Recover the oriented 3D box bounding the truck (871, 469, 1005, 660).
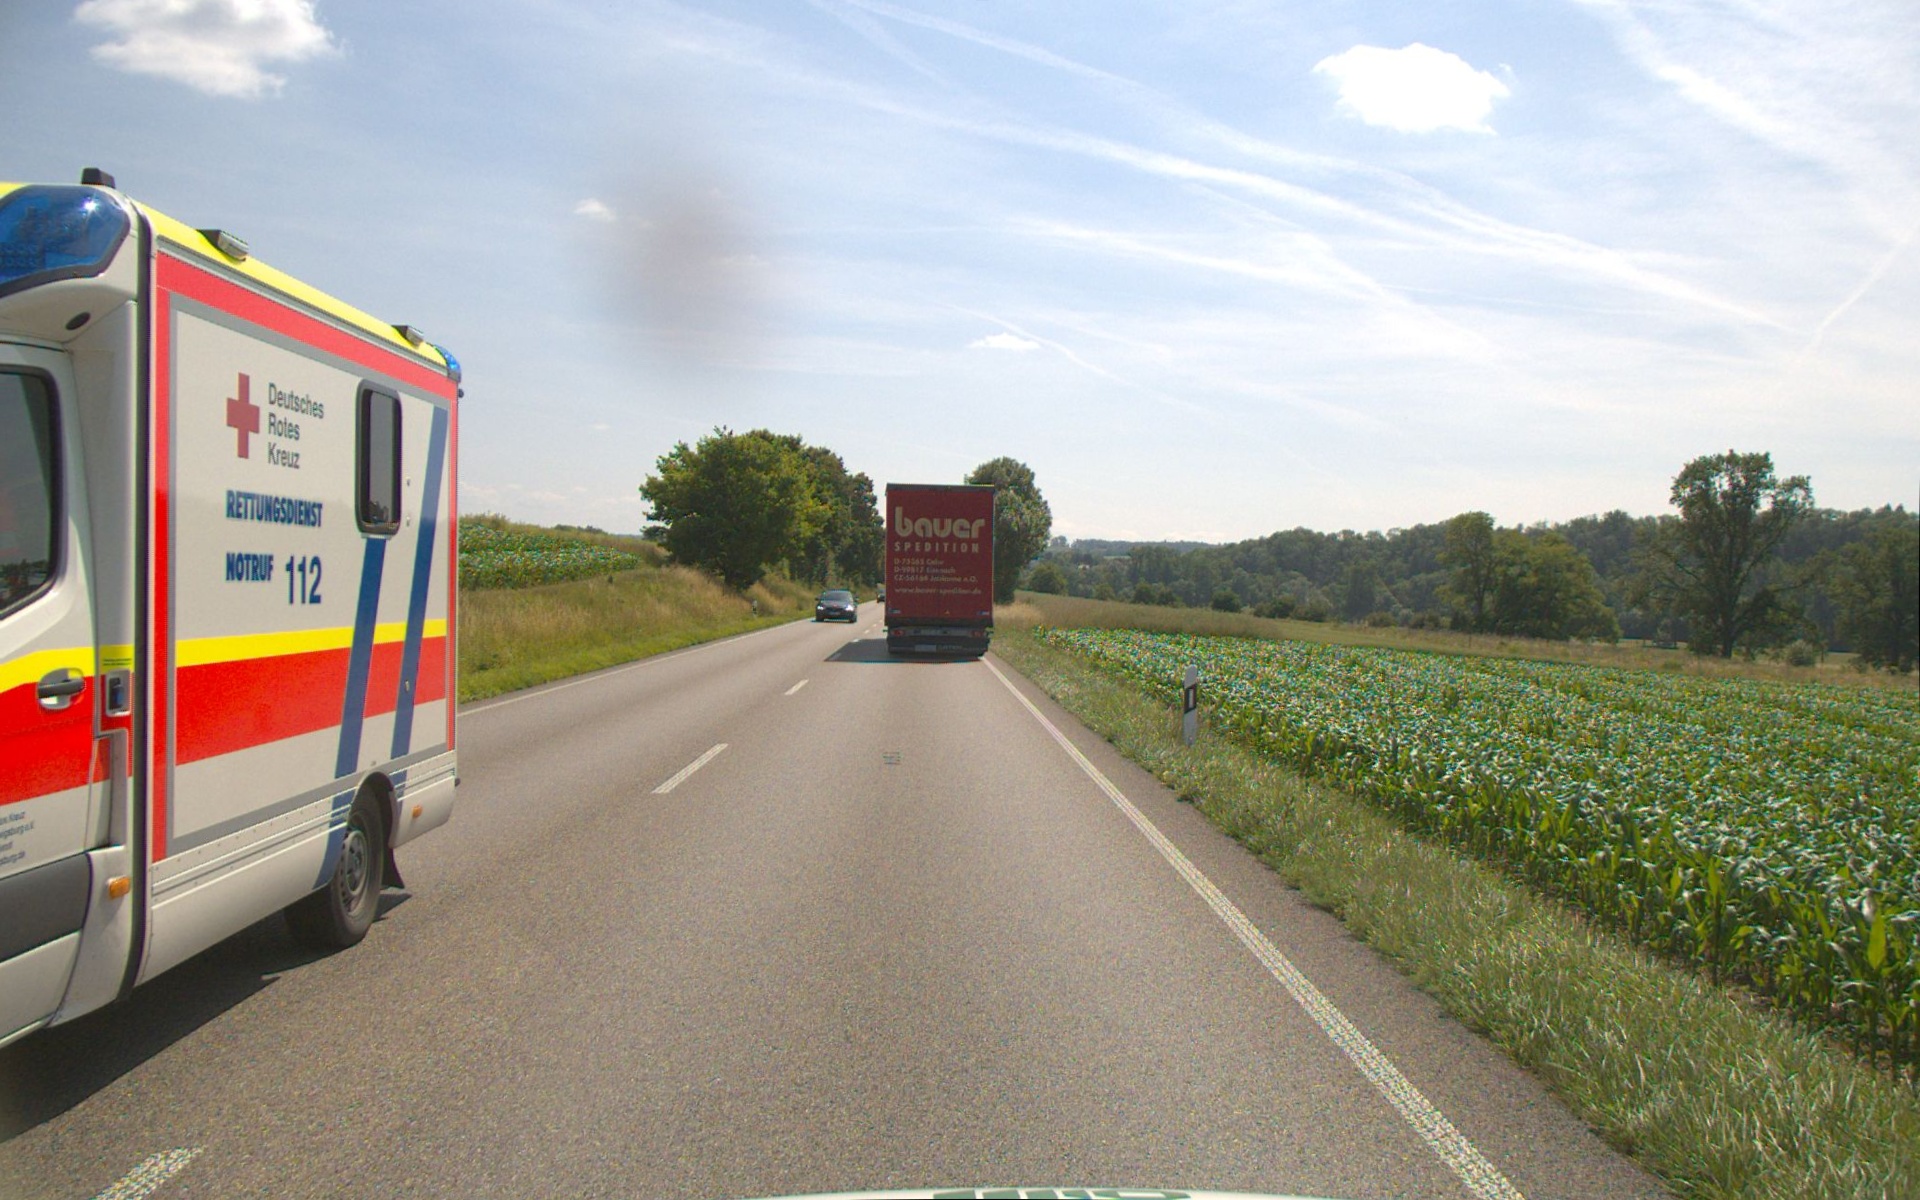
[{"bbox_3d":[-0.475,-0.786,42.047,3.031,4.337,8.314,1,-1,0],"label":"truck"}]

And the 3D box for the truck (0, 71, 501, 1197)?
[{"bbox_3d":[-3.445,0.083,5.574,2.163,2.718,6.415,0,0,-2],"label":"truck"}]

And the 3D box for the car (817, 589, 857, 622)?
[{"bbox_3d":[-5.811,0.219,78.395,1.639,1.482,4.349,1,0,-2],"label":"car"}]

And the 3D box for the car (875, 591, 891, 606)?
[{"bbox_3d":[-8.360,-0.155,180.156,1.623,1.561,4.357,2,0,-1],"label":"car"}]
